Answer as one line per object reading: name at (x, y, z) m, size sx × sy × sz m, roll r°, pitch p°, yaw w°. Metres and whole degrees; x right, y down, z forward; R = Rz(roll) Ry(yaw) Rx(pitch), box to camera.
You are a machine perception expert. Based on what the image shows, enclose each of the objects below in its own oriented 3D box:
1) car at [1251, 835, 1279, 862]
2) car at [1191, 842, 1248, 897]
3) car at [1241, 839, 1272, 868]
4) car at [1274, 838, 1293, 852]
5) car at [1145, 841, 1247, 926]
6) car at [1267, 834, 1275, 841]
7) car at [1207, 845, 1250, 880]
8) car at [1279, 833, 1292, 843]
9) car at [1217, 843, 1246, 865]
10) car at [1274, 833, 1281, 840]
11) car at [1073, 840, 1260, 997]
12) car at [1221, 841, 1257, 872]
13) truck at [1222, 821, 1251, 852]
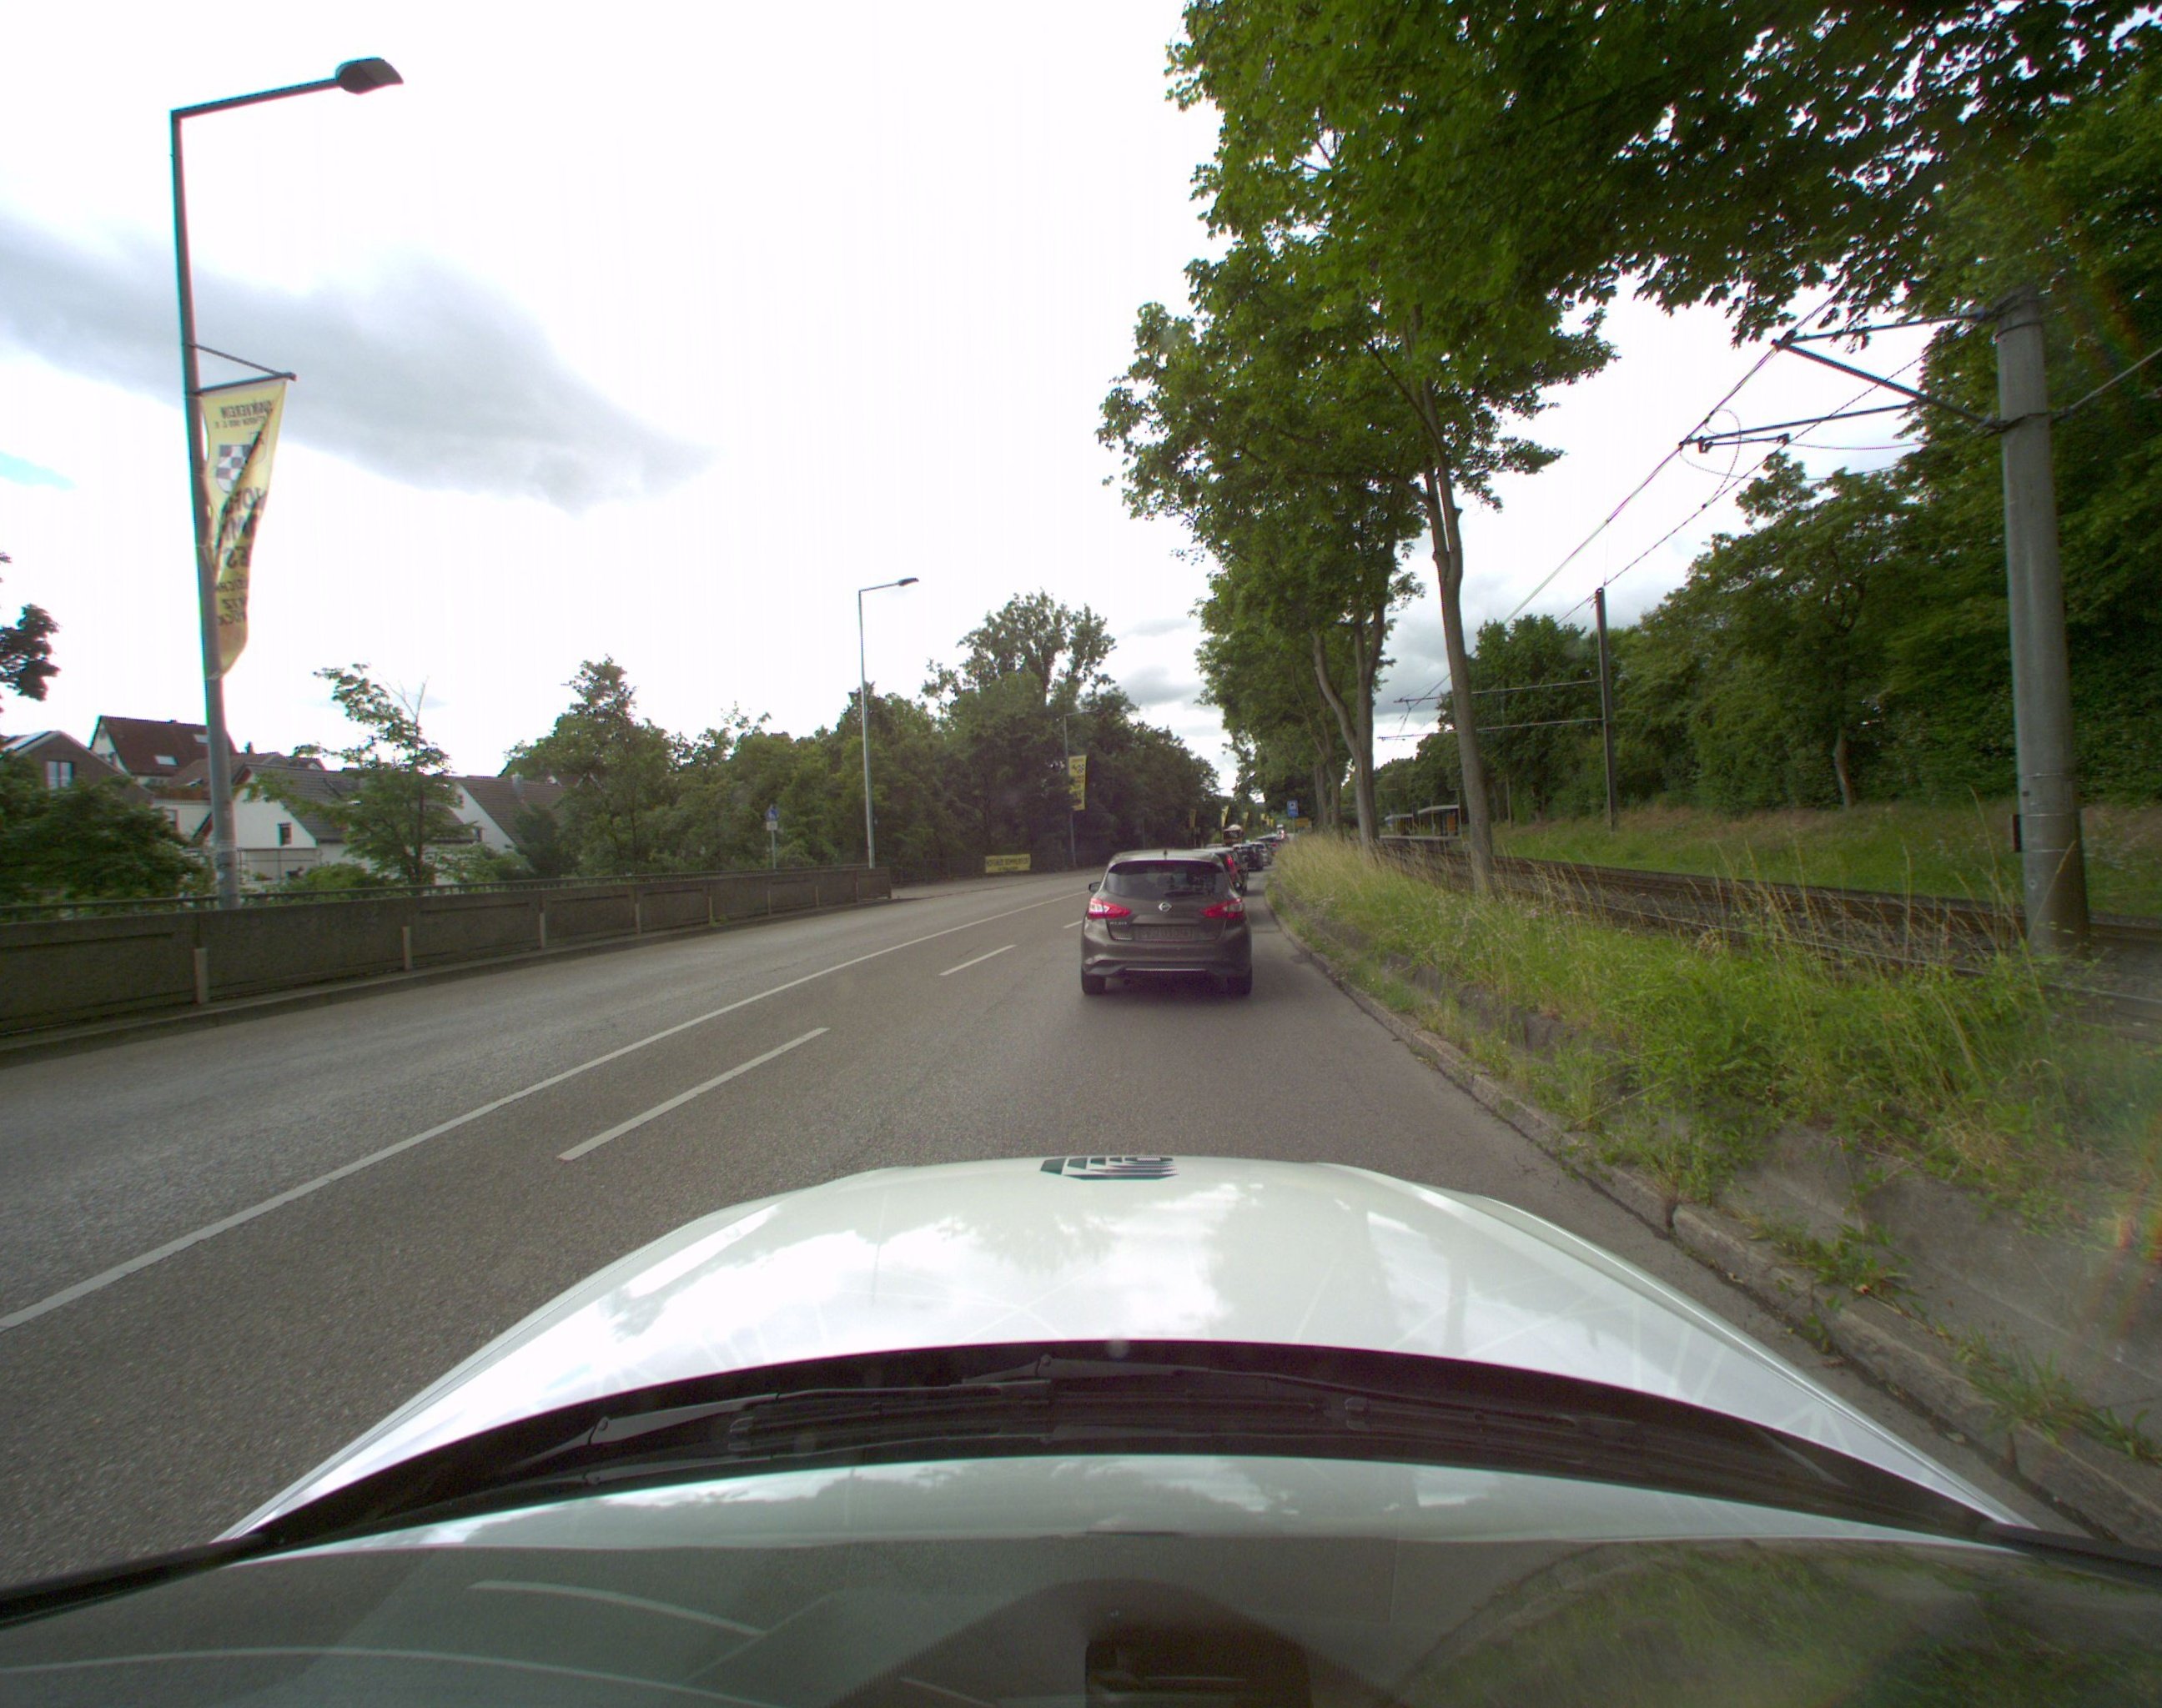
car at (14.833, -0.456, 65.583) m, size 1.876 × 2.013 × 4.017 m, roll -2°, pitch 0°, yaw 16°
car at (4.420, 0.450, 25.653) m, size 1.567 × 1.538 × 4.013 m, roll -3°, pitch -1°, yaw 11°
car at (11.262, 0.016, 52.061) m, size 1.706 × 1.693 × 4.015 m, roll -3°, pitch -2°, yaw 14°
car at (22.963, -0.997, 92.347) m, size 1.876 × 1.445 × 3.823 m, roll -2°, pitch 0°, yaw 16°
car at (2.492, 0.593, 17.603) m, size 1.882 × 1.574 × 4.009 m, roll -2°, pitch -1°, yaw 8°
car at (48.445, -4.215, 207.937) m, size 1.739 × 1.420 × 4.015 m, roll -3°, pitch -2°, yaw 14°
car at (6.484, 0.336, 35.566) m, size 1.489 × 1.364 × 3.601 m, roll -3°, pitch -1°, yaw 15°
car at (34.680, -2.668, 138.011) m, size 1.876 × 1.653 × 4.017 m, roll -2°, pitch 0°, yaw 16°
car at (11.263, 0.024, 60.710) m, size 1.838 × 1.486 × 4.437 m, roll -3°, pitch -1°, yaw 13°
car at (57.623, -5.125, 238.803) m, size 1.706 × 1.693 × 3.740 m, roll -3°, pitch -2°, yaw 14°
car at (1.057, 0.650, 9.842) m, size 1.765 × 1.494 × 4.008 m, roll -1°, pitch -1°, yaw 7°
car at (8.471, 0.138, 43.469) m, size 1.793 × 1.540 × 4.013 m, roll -1°, pitch 0°, yaw 12°
truck at (21.077, -2.300, 110.095) m, size 2.634 × 3.938 × 10.157 m, roll -2°, pitch 0°, yaw 17°
